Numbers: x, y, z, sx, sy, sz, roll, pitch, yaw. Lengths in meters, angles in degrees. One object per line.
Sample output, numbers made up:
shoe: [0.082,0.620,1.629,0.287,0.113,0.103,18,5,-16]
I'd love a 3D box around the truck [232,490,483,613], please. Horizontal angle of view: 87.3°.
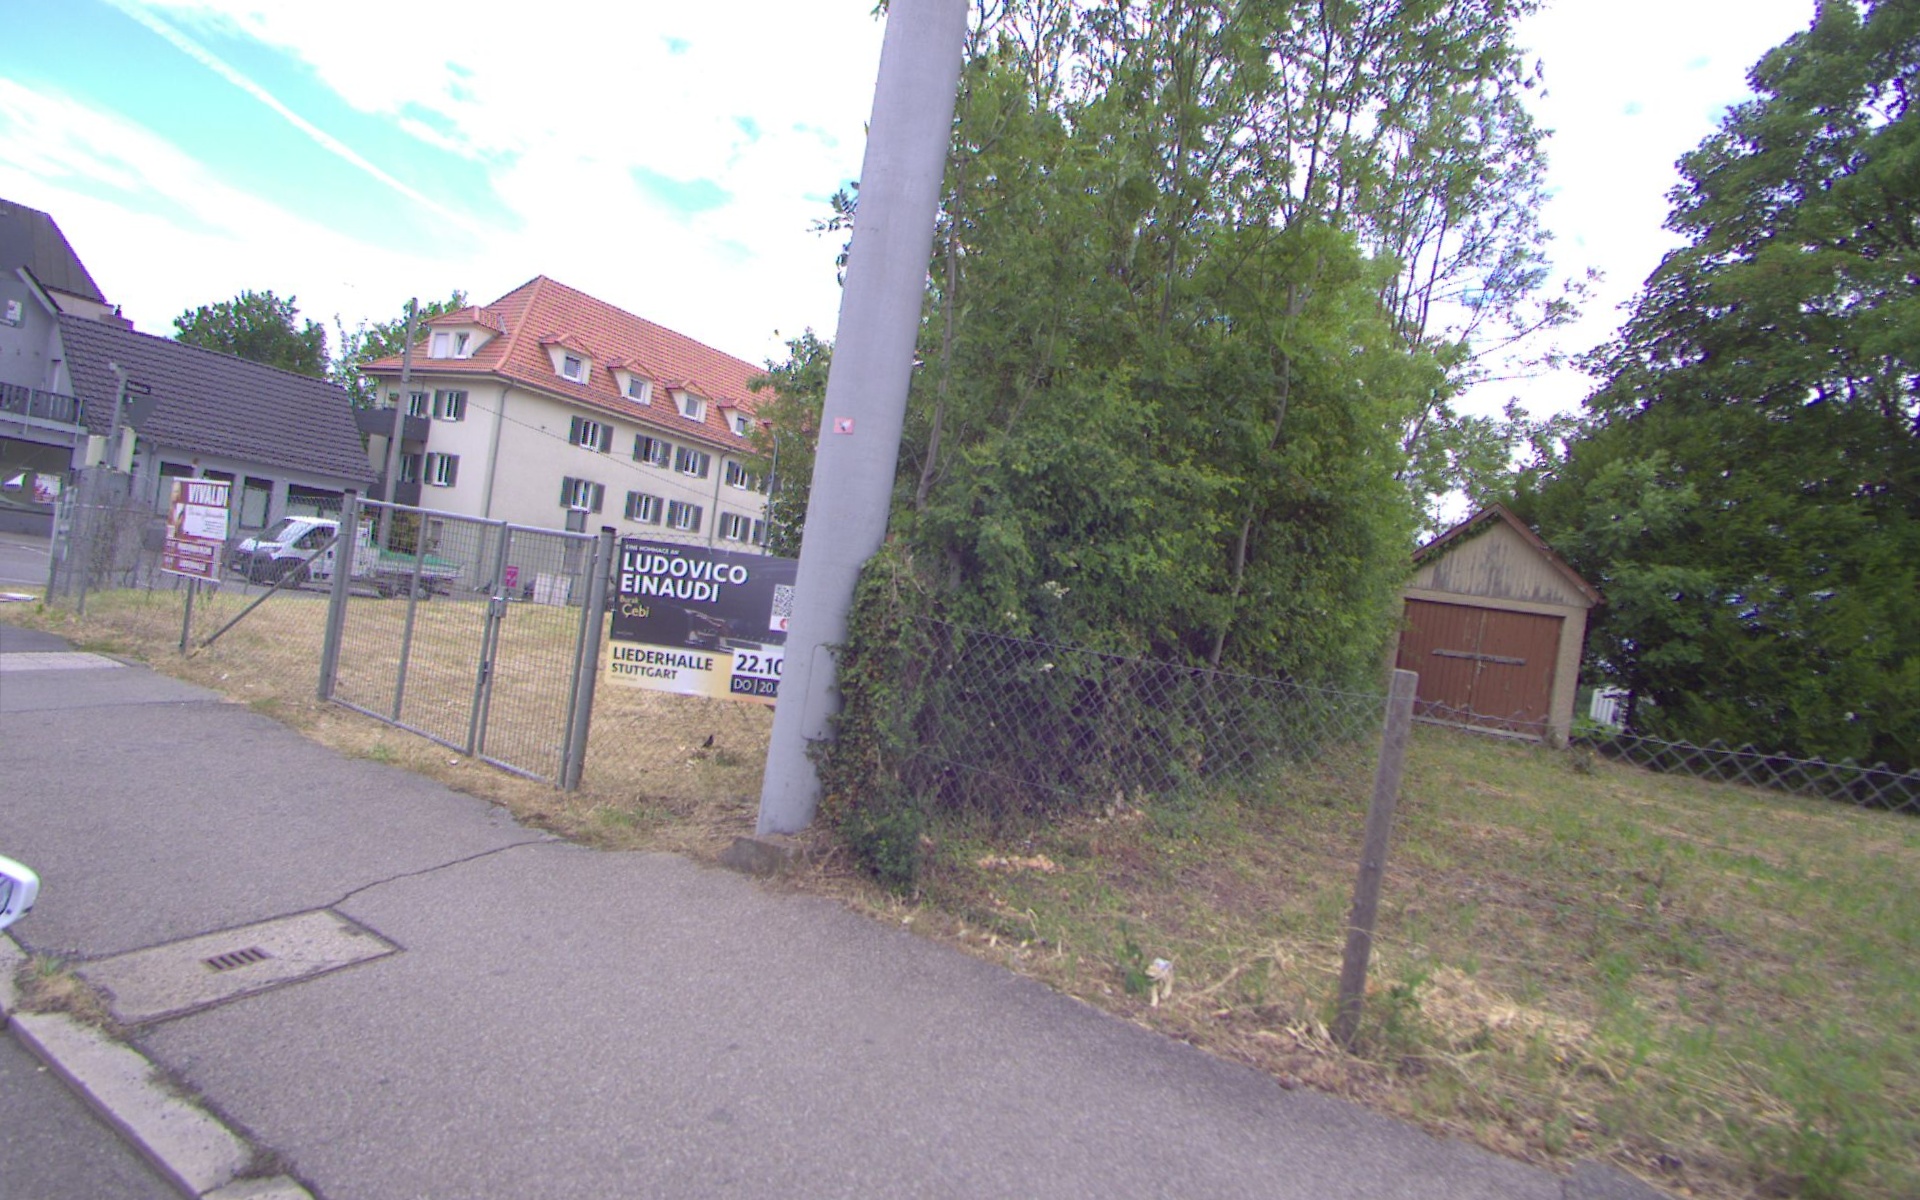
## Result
truck: [-18.839,-1.400,31.927,1.966,2.730,6.405,7,-3,31]
